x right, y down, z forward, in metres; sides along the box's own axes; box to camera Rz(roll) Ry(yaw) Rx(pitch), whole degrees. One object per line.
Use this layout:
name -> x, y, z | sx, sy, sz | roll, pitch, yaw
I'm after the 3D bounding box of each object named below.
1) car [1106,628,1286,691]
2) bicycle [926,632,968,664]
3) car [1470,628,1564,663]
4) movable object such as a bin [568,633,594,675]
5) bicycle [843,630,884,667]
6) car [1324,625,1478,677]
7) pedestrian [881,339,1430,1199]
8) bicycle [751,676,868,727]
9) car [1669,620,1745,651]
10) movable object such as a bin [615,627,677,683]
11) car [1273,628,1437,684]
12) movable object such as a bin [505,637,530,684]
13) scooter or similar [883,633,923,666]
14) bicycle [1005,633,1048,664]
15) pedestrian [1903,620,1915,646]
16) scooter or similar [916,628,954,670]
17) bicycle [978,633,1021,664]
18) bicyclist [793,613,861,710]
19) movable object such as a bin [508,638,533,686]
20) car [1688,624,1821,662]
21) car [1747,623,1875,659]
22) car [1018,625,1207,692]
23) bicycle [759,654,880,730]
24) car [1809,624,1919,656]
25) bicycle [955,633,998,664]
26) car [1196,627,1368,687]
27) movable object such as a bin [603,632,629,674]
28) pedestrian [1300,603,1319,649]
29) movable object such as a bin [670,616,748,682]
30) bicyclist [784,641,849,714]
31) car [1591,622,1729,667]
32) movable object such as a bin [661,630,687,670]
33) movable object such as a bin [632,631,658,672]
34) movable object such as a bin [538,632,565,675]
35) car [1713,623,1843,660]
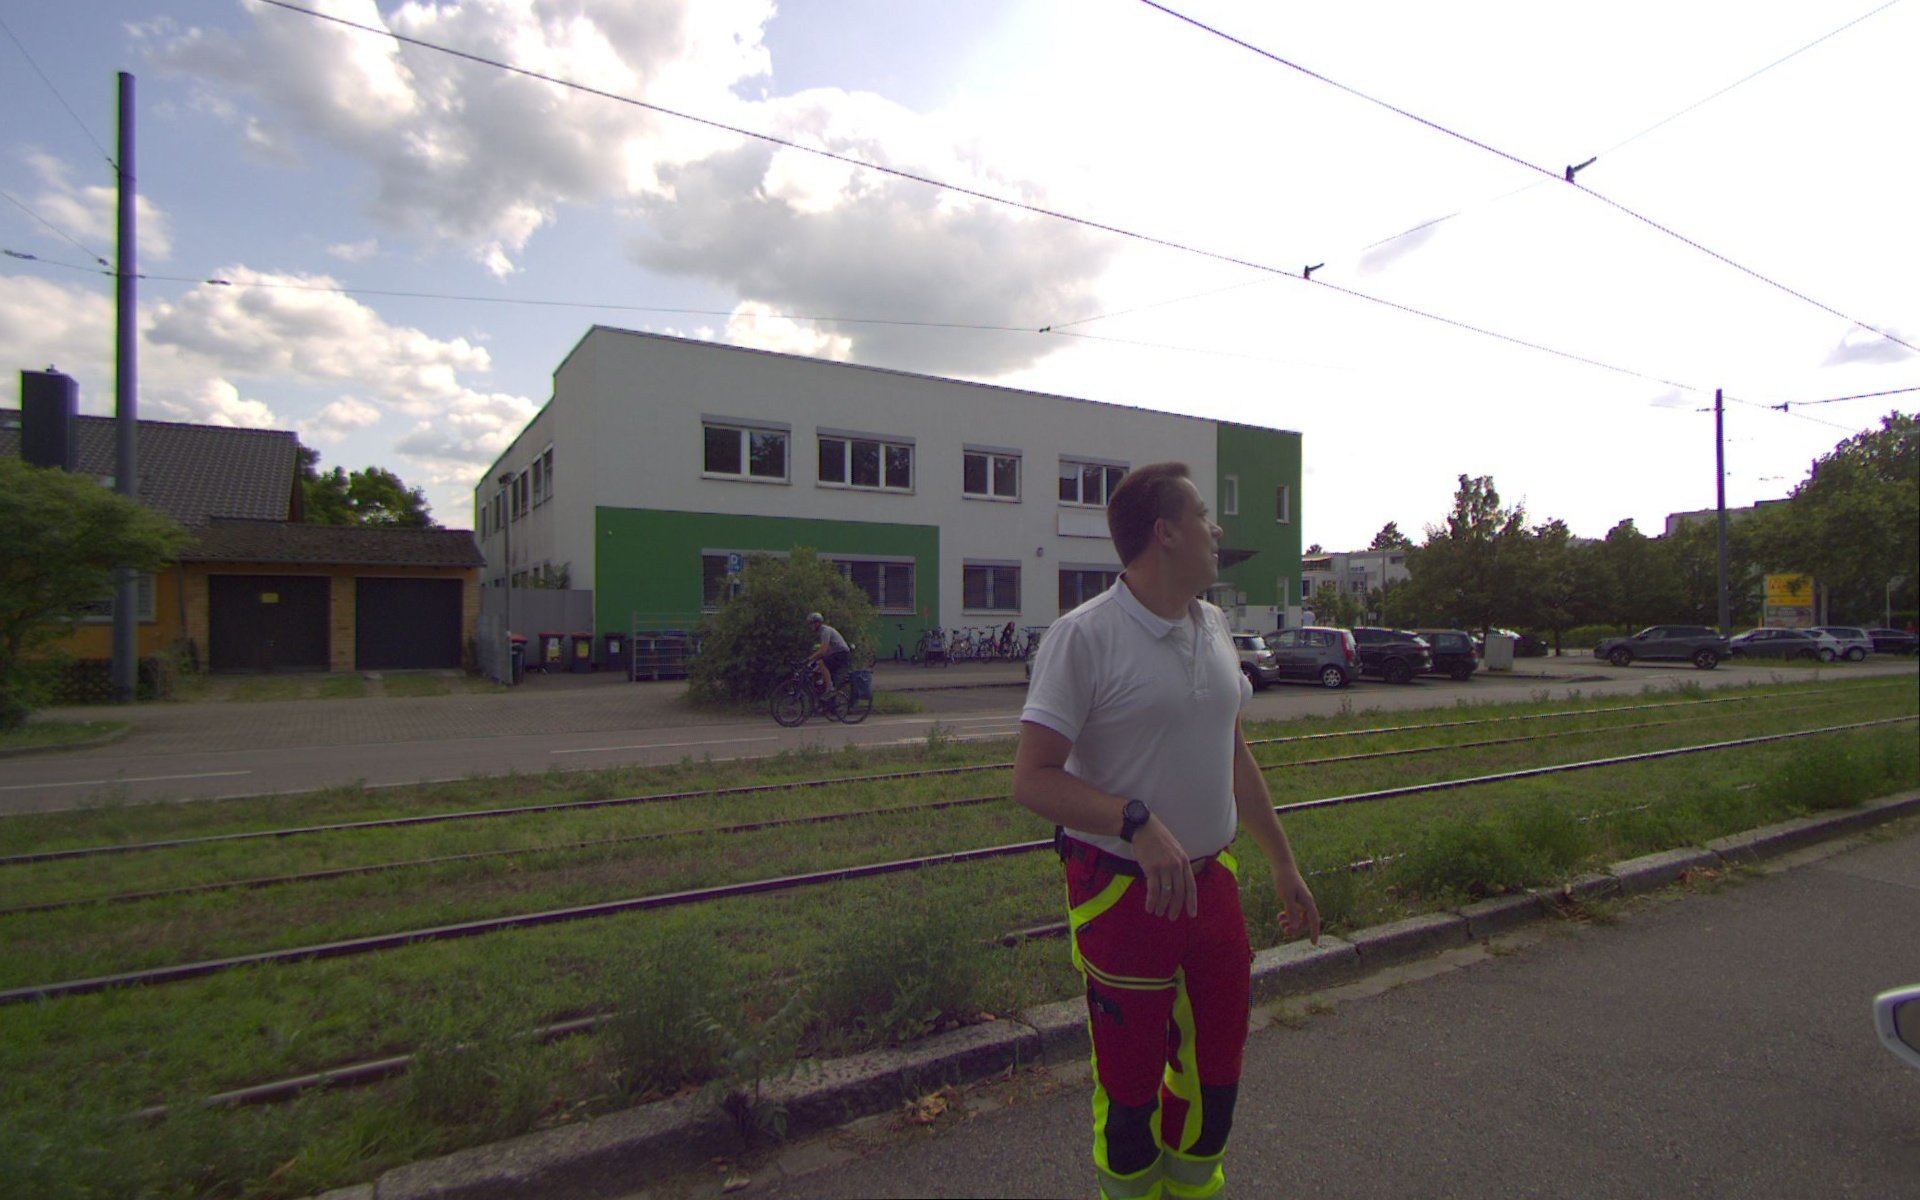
car -> 6.064, 1.478, 25.929 | 4.160, 1.501, 1.880 | -1, -2, 30
bicycle -> -0.425, 1.512, 31.716 | 0.453, 0.911, 1.848 | 2, 0, -30
car -> 29.202, 2.366, 52.769 | 1.755, 1.586, 3.970 | 2, 0, -28
movable object such as a bin -> -9.956, 1.401, 26.387 | 0.558, 1.056, 0.565 | 0, 1, -31
bicycle -> -2.906, 1.428, 30.049 | 0.453, 0.999, 1.848 | 2, 0, -30
car -> 13.568, 1.538, 30.943 | 4.160, 1.501, 1.880 | -1, -2, 30
pedestrian -> 0.419, 0.503, 1.920 | 0.835, 1.709, 0.805 | 0, -1, 27
bicycle -> -2.449, 1.637, 16.354 | 1.780, 0.727, 0.644 | 1, -1, -25
car -> 48.527, 2.275, 65.360 | 1.960, 1.773, 4.000 | 1, 0, 0
movable object such as a bin -> -7.547, 1.305, 24.140 | 1.241, 1.251, 1.001 | 0, 1, -29
car -> 11.314, 1.556, 28.822 | 4.160, 1.501, 1.880 | -1, -2, 30
movable object such as a bin -> -10.407, 1.414, 23.623 | 0.474, 1.056, 0.491 | 0, 1, -31
scooter or similar -> -1.771, 1.524, 31.027 | 0.453, 0.911, 1.726 | 2, 0, -30
bicycle -> 2.192, 1.590, 33.313 | 0.453, 0.911, 1.848 | 2, 0, -30
pedestrian -> 63.055, 2.183, 66.731 | 0.597, 1.699, 0.463 | 1, -1, -33
scooter or similar -> -0.741, 1.430, 29.651 | 1.073, 1.171, 1.306 | 2, 0, -2
bicycle -> 1.282, 1.569, 32.801 | 0.453, 0.911, 1.848 | 2, 0, -30
bicyclist -> -2.089, 0.947, 15.786 | 0.916, 1.477, 0.621 | 0, -1, -25
movable object such as a bin -> -10.127, 1.420, 23.141 | 0.476, 1.056, 0.502 | 0, 1, -31
car -> 34.389, 1.823, 43.600 | 4.154, 1.501, 1.882 | 1, -1, 23
car -> 39.400, 1.866, 46.638 | 4.154, 1.501, 1.882 | 1, -1, 23
car -> 3.690, 1.376, 24.279 | 4.155, 1.501, 1.882 | -1, -2, 25
bicycle -> -2.189, 1.415, 15.730 | 1.780, 1.094, 0.644 | 1, -1, -25
car -> 46.189, 2.025, 51.091 | 4.151, 1.501, 1.883 | 1, -1, 19
bicycle -> 0.522, 1.543, 32.338 | 0.453, 0.911, 1.848 | 2, 0, -30
car -> 8.738, 1.508, 27.326 | 4.160, 1.501, 1.880 | -1, -2, 30
movable object such as a bin -> -9.202, 1.409, 26.885 | 0.558, 1.056, 0.565 | 0, 1, -31
pedestrian -> 14.421, 1.071, 41.446 | 0.503, 1.852, 0.543 | 1, -1, -33
movable object such as a bin -> -6.232, 1.184, 24.901 | 1.691, 1.540, 1.001 | 0, 1, -29
bicyclist -> -2.338, 1.249, 16.390 | 0.916, 1.127, 0.638 | 0, -1, -24
car -> 26.204, 1.628, 37.754 | 4.164, 1.501, 1.878 | 1, -1, 34
movable object such as a bin -> -7.880, 1.372, 27.649 | 0.558, 1.056, 0.565 | 0, 1, -31
movable object such as a bin -> -8.542, 1.392, 27.258 | 0.558, 1.056, 0.565 | 0, 1, -31
movable object such as a bin -> -10.565, 1.372, 25.986 | 0.558, 1.056, 0.565 | 0, 1, -31
car -> 36.741, 1.824, 45.261 | 4.154, 1.501, 1.882 | 1, -1, 23
